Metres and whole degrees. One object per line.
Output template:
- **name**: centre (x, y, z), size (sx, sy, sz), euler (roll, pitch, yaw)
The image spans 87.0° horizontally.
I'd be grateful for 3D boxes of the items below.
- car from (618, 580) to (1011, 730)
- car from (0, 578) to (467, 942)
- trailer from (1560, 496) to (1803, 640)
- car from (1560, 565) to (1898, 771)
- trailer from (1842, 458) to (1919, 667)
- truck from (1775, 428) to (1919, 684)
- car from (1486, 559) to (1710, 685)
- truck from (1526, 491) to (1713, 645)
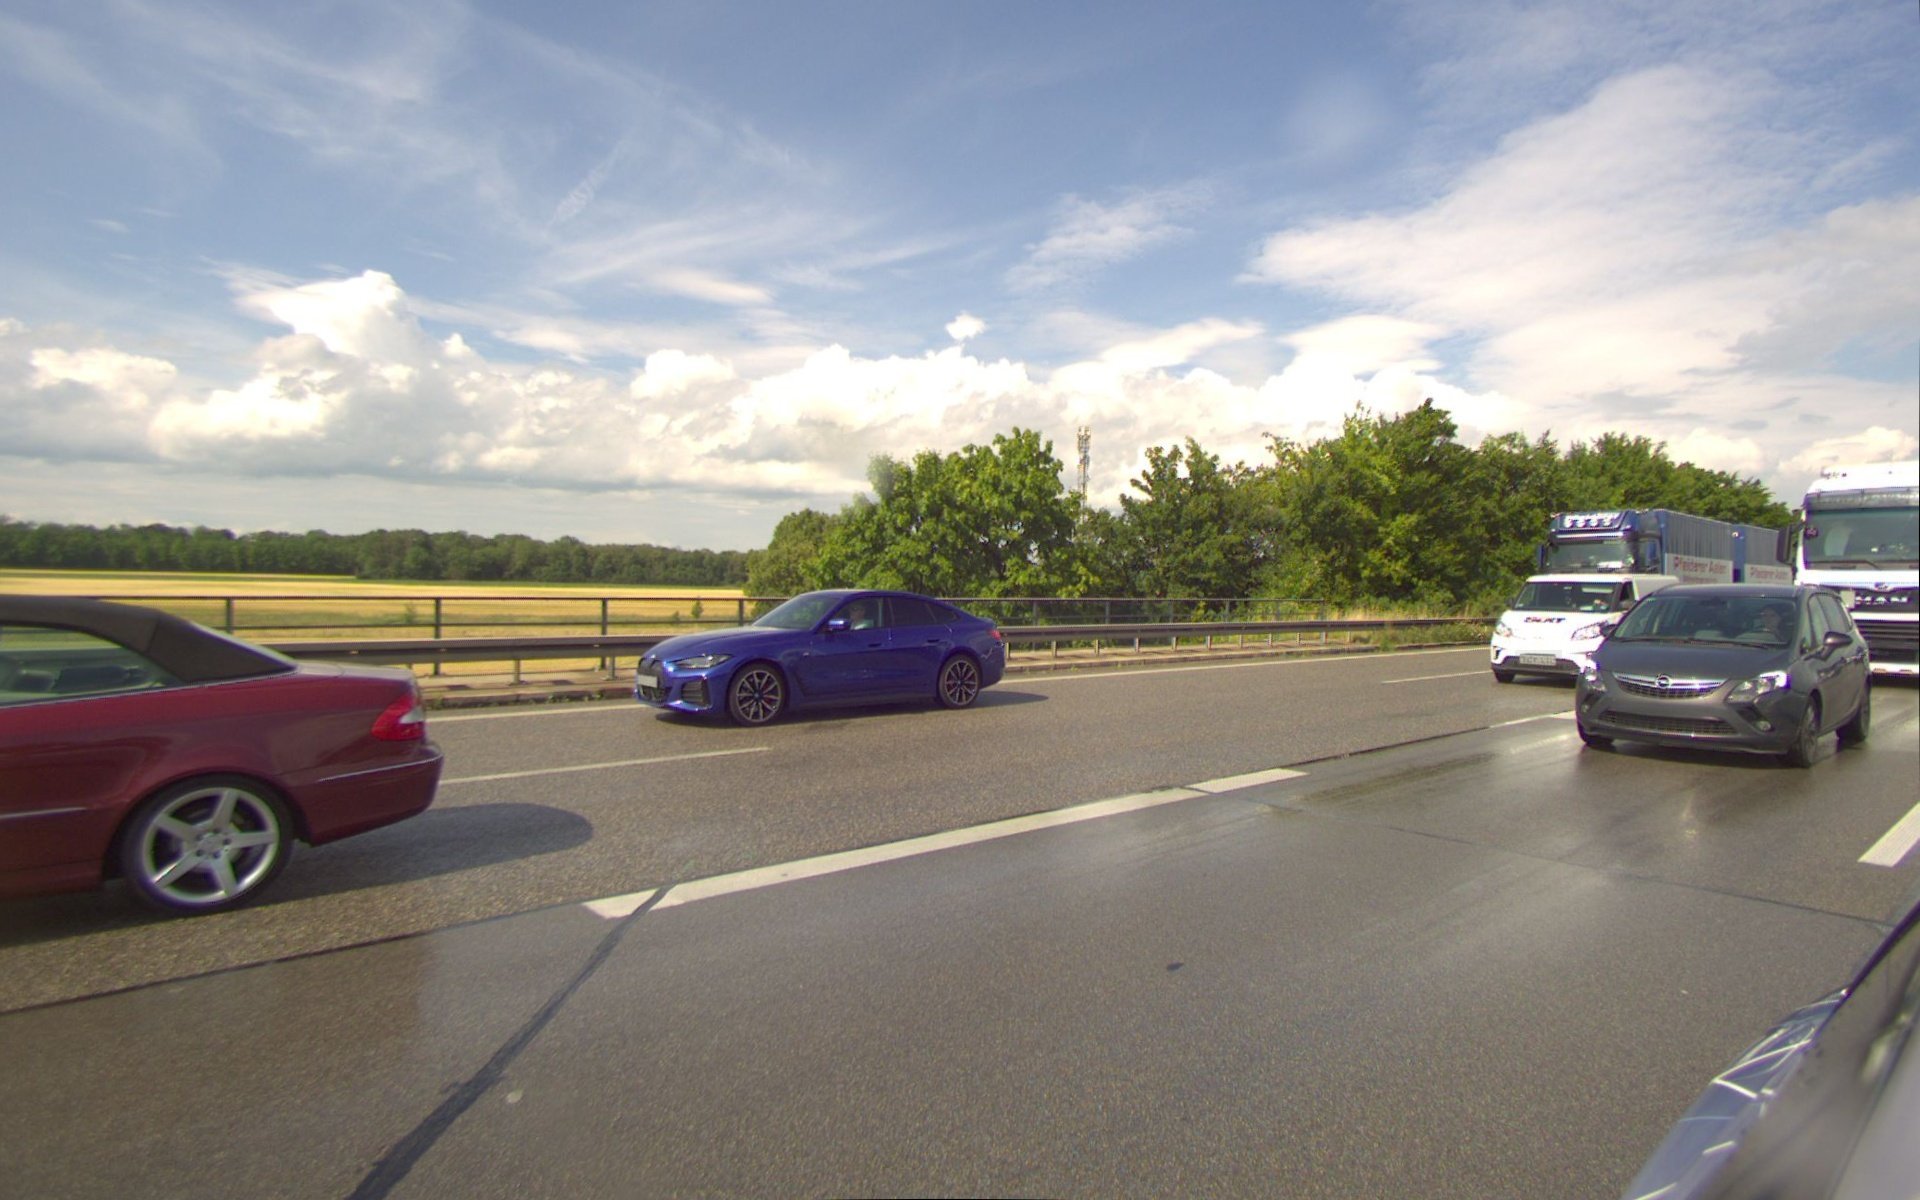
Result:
- **car**: centre (-1.596, 0.521, 12.136), size (4.427, 1.481, 1.790), euler (-1, 0, -41)
- **car**: centre (-4.717, 0.618, 4.318), size (4.431, 1.428, 1.755), euler (0, 0, -40)
- **trailer**: centre (25.153, -1.011, 34.587), size (16.057, 4.003, 3.110), euler (-1, 1, -41)
- **car**: centre (7.971, 0.531, 10.337), size (4.319, 1.668, 1.882), euler (0, 1, -41)
- **trailer**: centre (23.674, -0.792, 23.596), size (11.331, 4.158, 2.789), euler (0, 0, -39)
- **truck**: centre (18.087, -0.742, 19.051), size (7.311, 4.158, 2.817), euler (0, 0, -39)
- **car**: centre (11.294, 0.298, 17.760), size (5.077, 1.909, 1.953), euler (-1, 1, -41)
- **truck**: centre (19.223, -0.902, 29.401), size (5.765, 4.003, 3.110), euler (-1, 1, -41)
